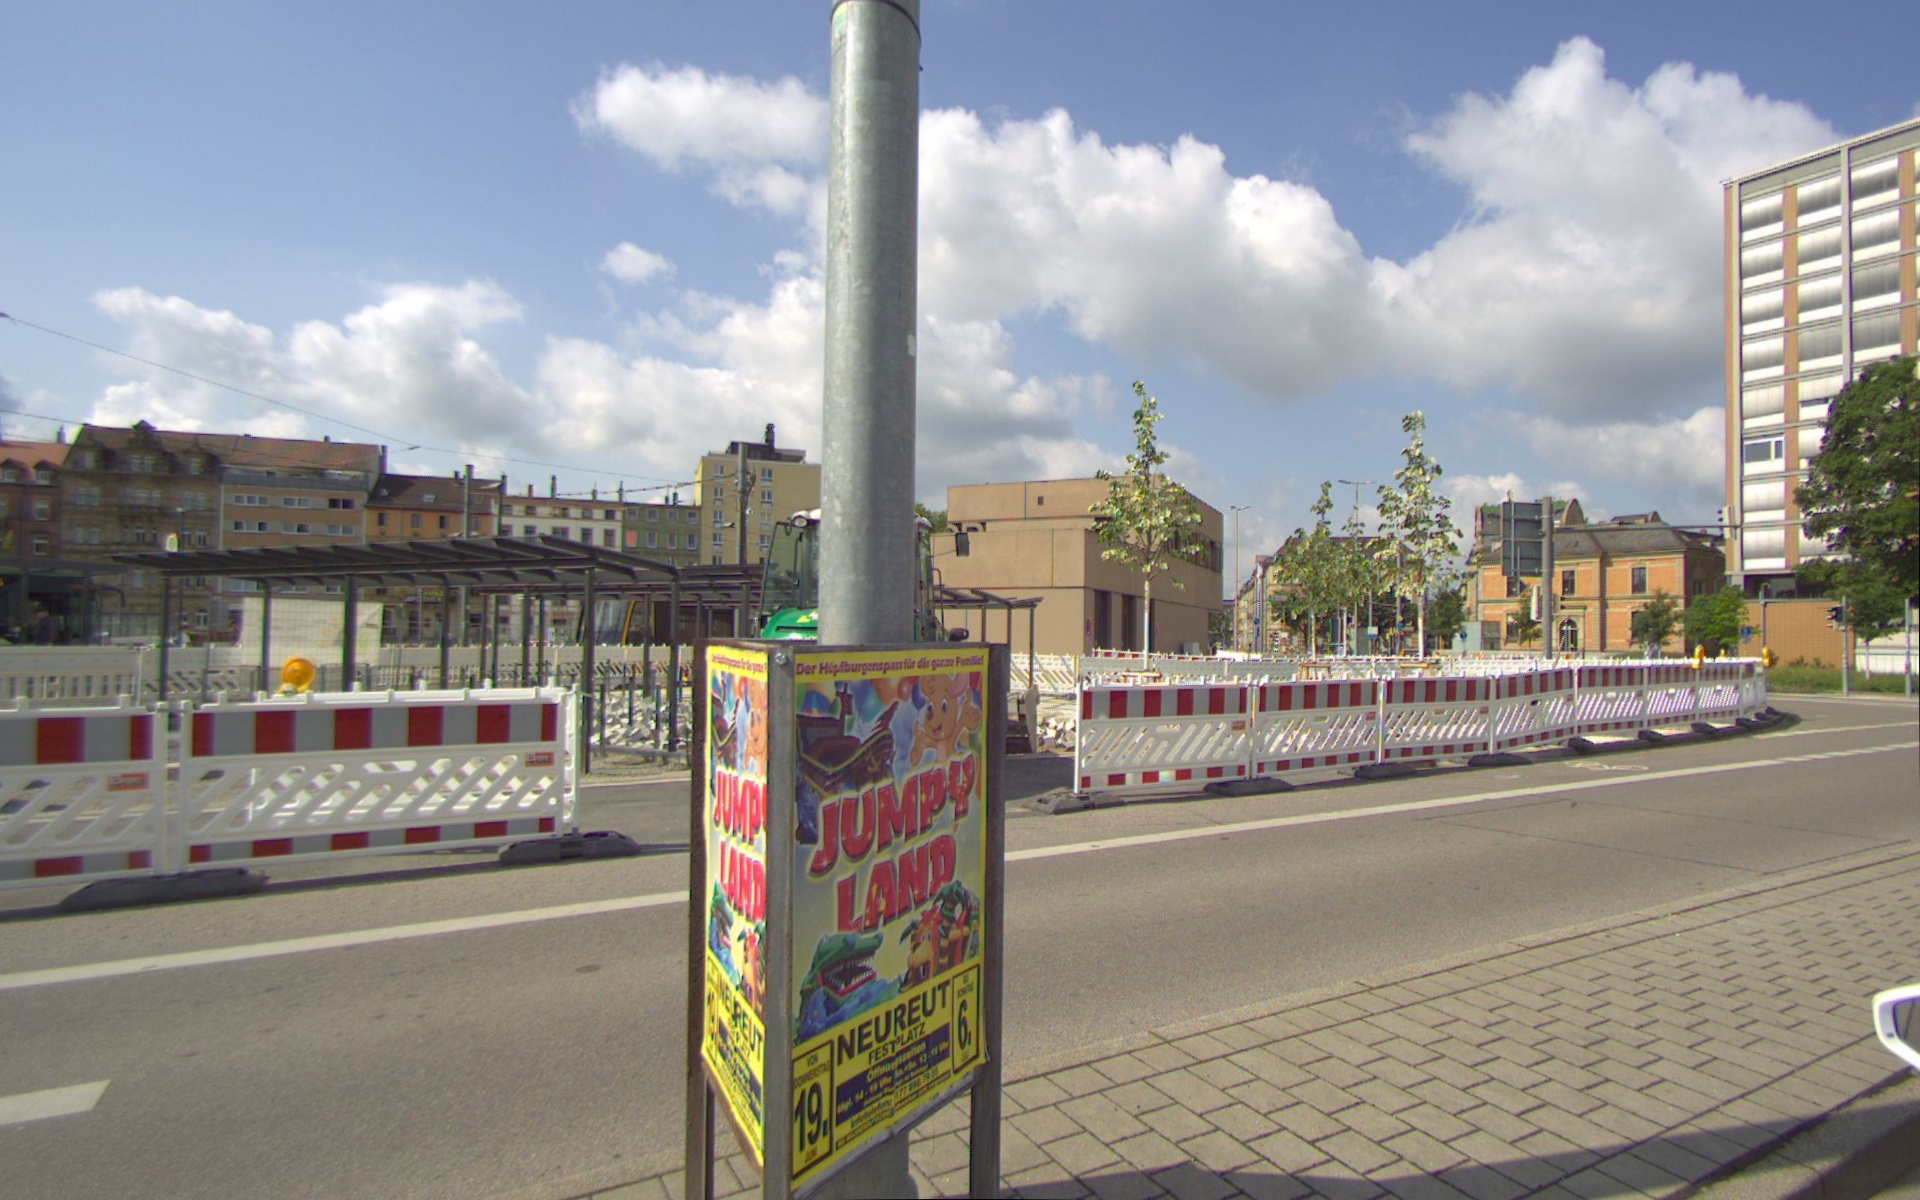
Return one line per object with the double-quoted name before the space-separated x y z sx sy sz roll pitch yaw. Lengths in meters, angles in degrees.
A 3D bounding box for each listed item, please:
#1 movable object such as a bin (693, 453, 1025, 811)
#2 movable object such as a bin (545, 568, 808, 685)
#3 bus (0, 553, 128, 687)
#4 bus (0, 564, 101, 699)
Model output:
"movable object such as a bin" -0.777 0.356 10.803 1.960 2.988 4.453 0 -2 17
"movable object such as a bin" -9.307 0.975 34.705 2.966 3.468 9.677 0 -2 27
"bus" -26.596 0.377 22.524 2.937 3.305 12.067 -1 -2 25
"bus" -23.853 0.650 21.663 2.329 3.098 7.758 -1 -2 25
